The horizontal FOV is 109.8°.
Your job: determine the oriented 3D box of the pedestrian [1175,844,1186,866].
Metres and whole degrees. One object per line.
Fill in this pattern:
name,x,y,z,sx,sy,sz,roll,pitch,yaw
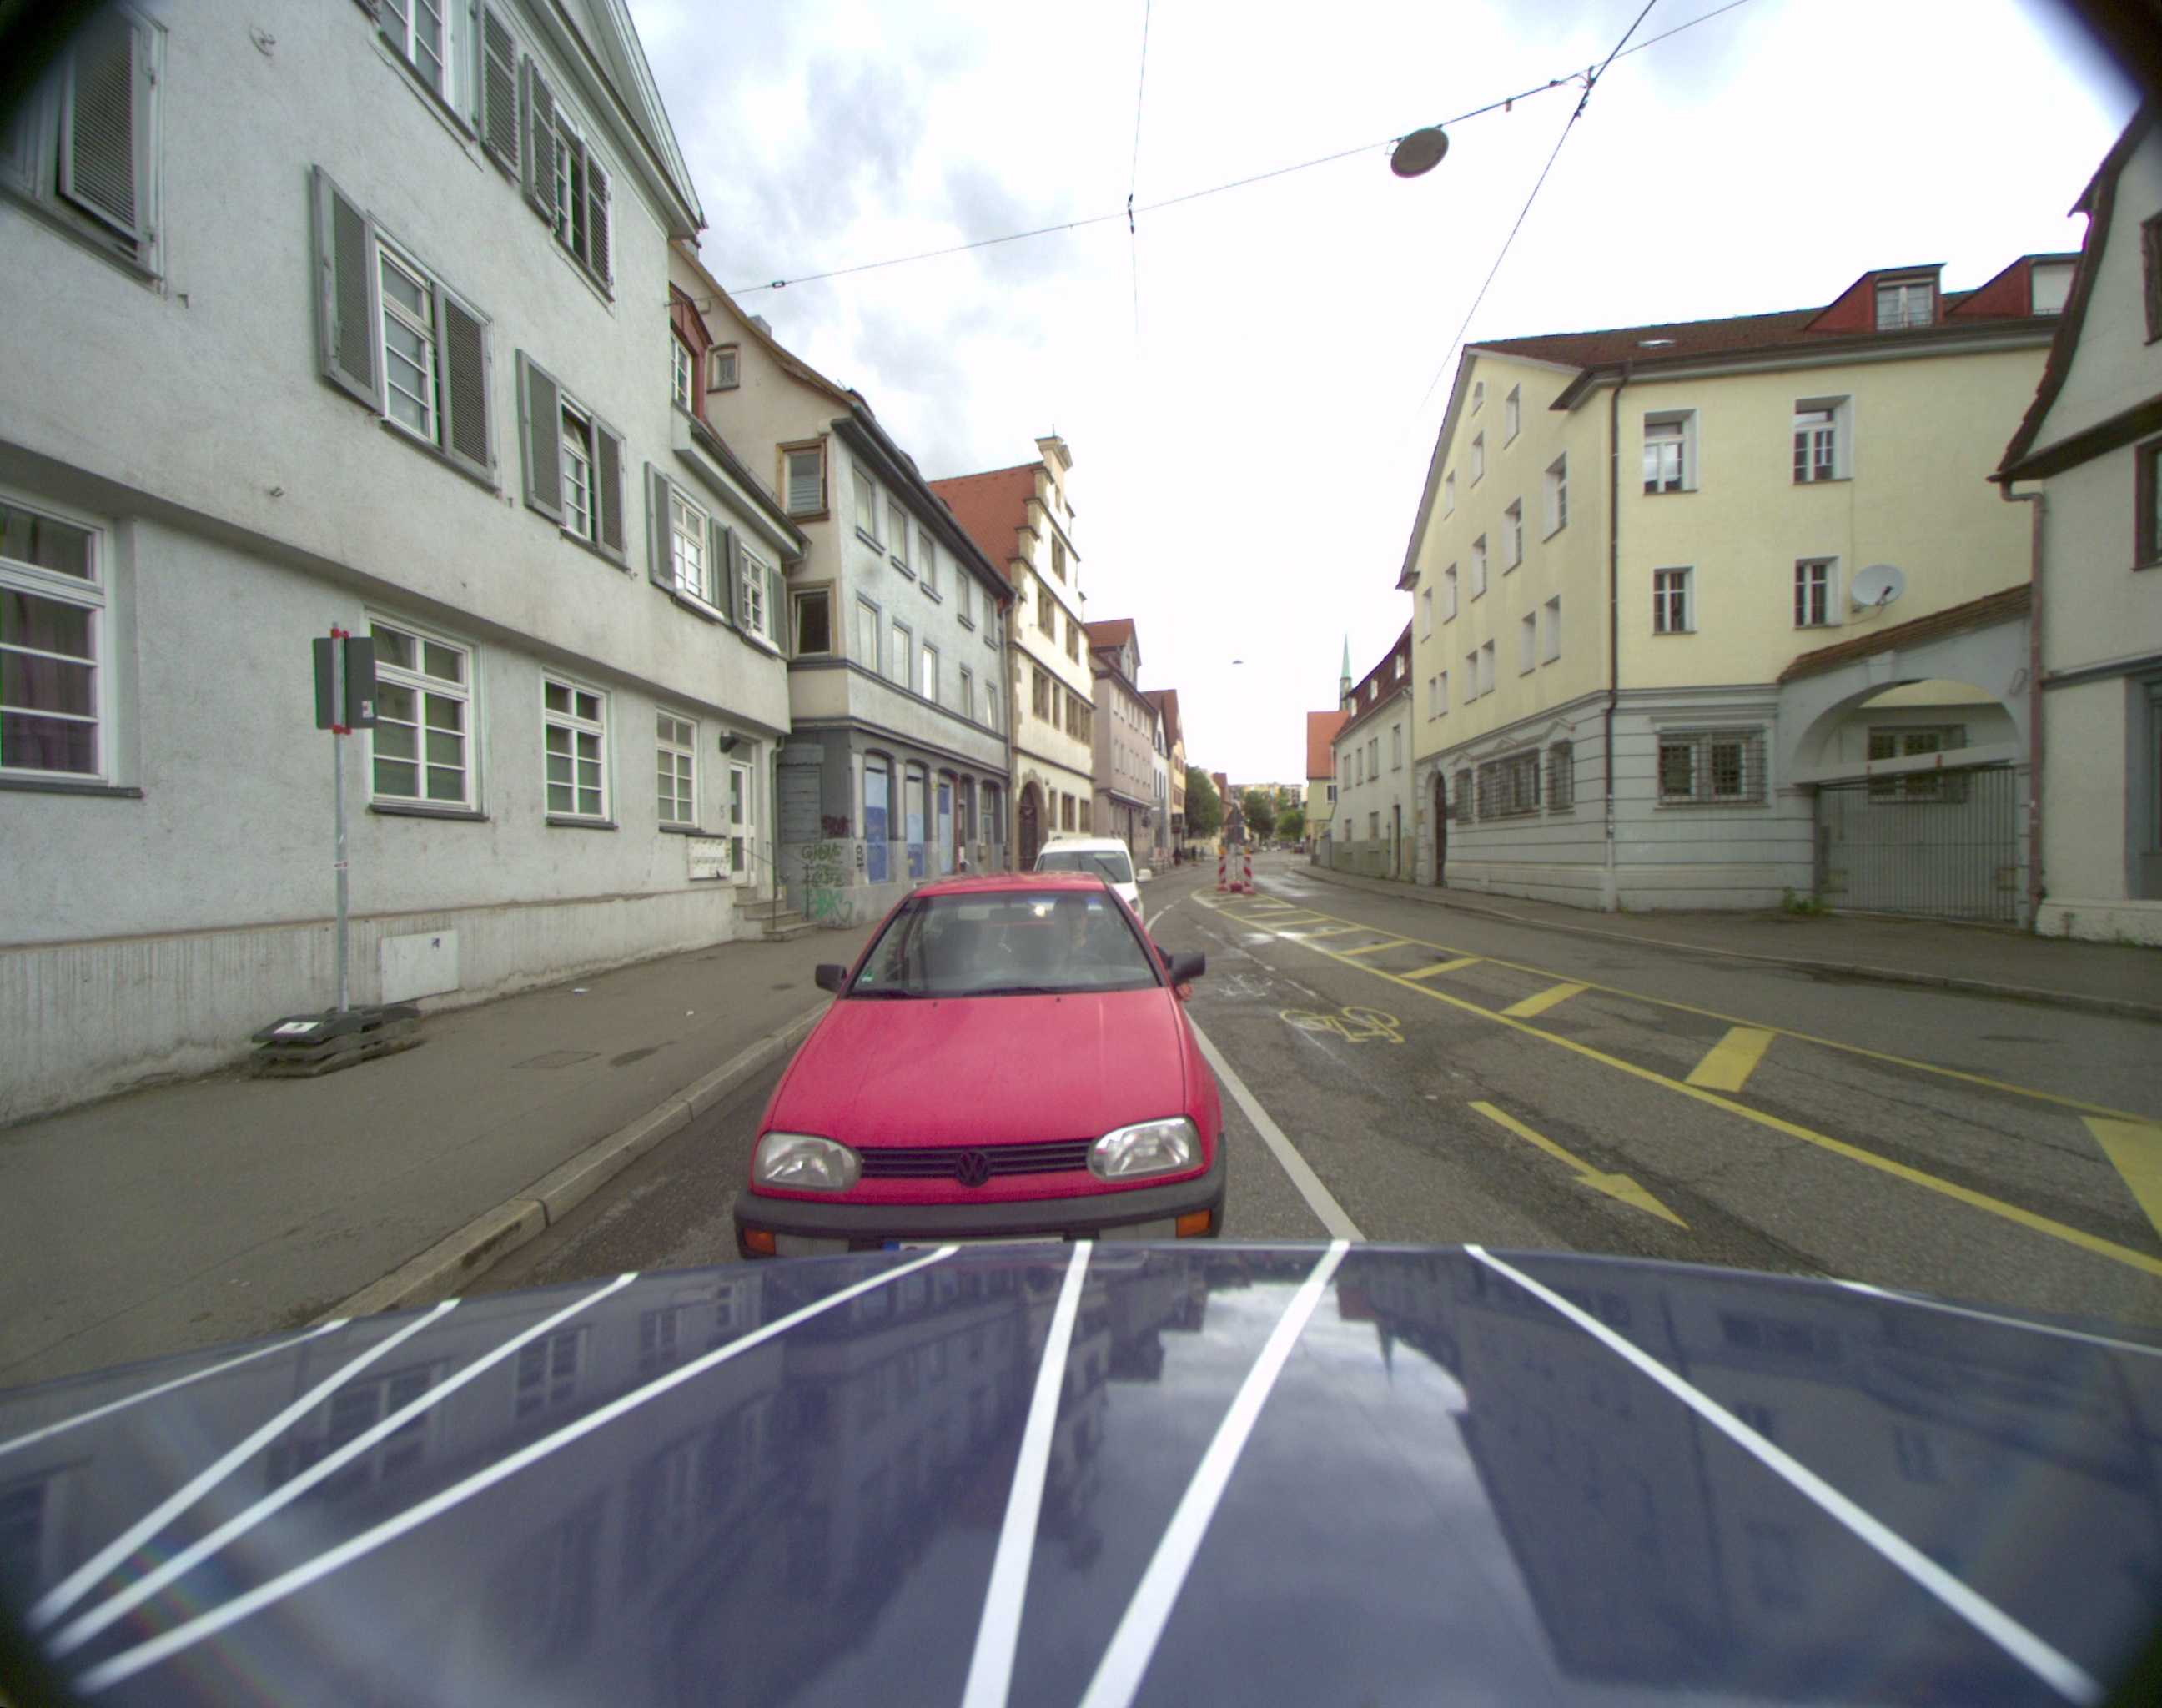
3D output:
pedestrian,7.476,0.078,57.073,0.725,1.604,0.649,0,0,11

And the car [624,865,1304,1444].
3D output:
car,-0.345,0.841,4.060,1.793,1.417,3.998,-2,1,-1

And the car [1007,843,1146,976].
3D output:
car,0.031,0.706,12.156,1.814,1.695,4.256,-1,1,2

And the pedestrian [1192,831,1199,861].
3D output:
pedestrian,9.614,-0.650,63.614,0.495,2.513,0.746,-1,1,12
